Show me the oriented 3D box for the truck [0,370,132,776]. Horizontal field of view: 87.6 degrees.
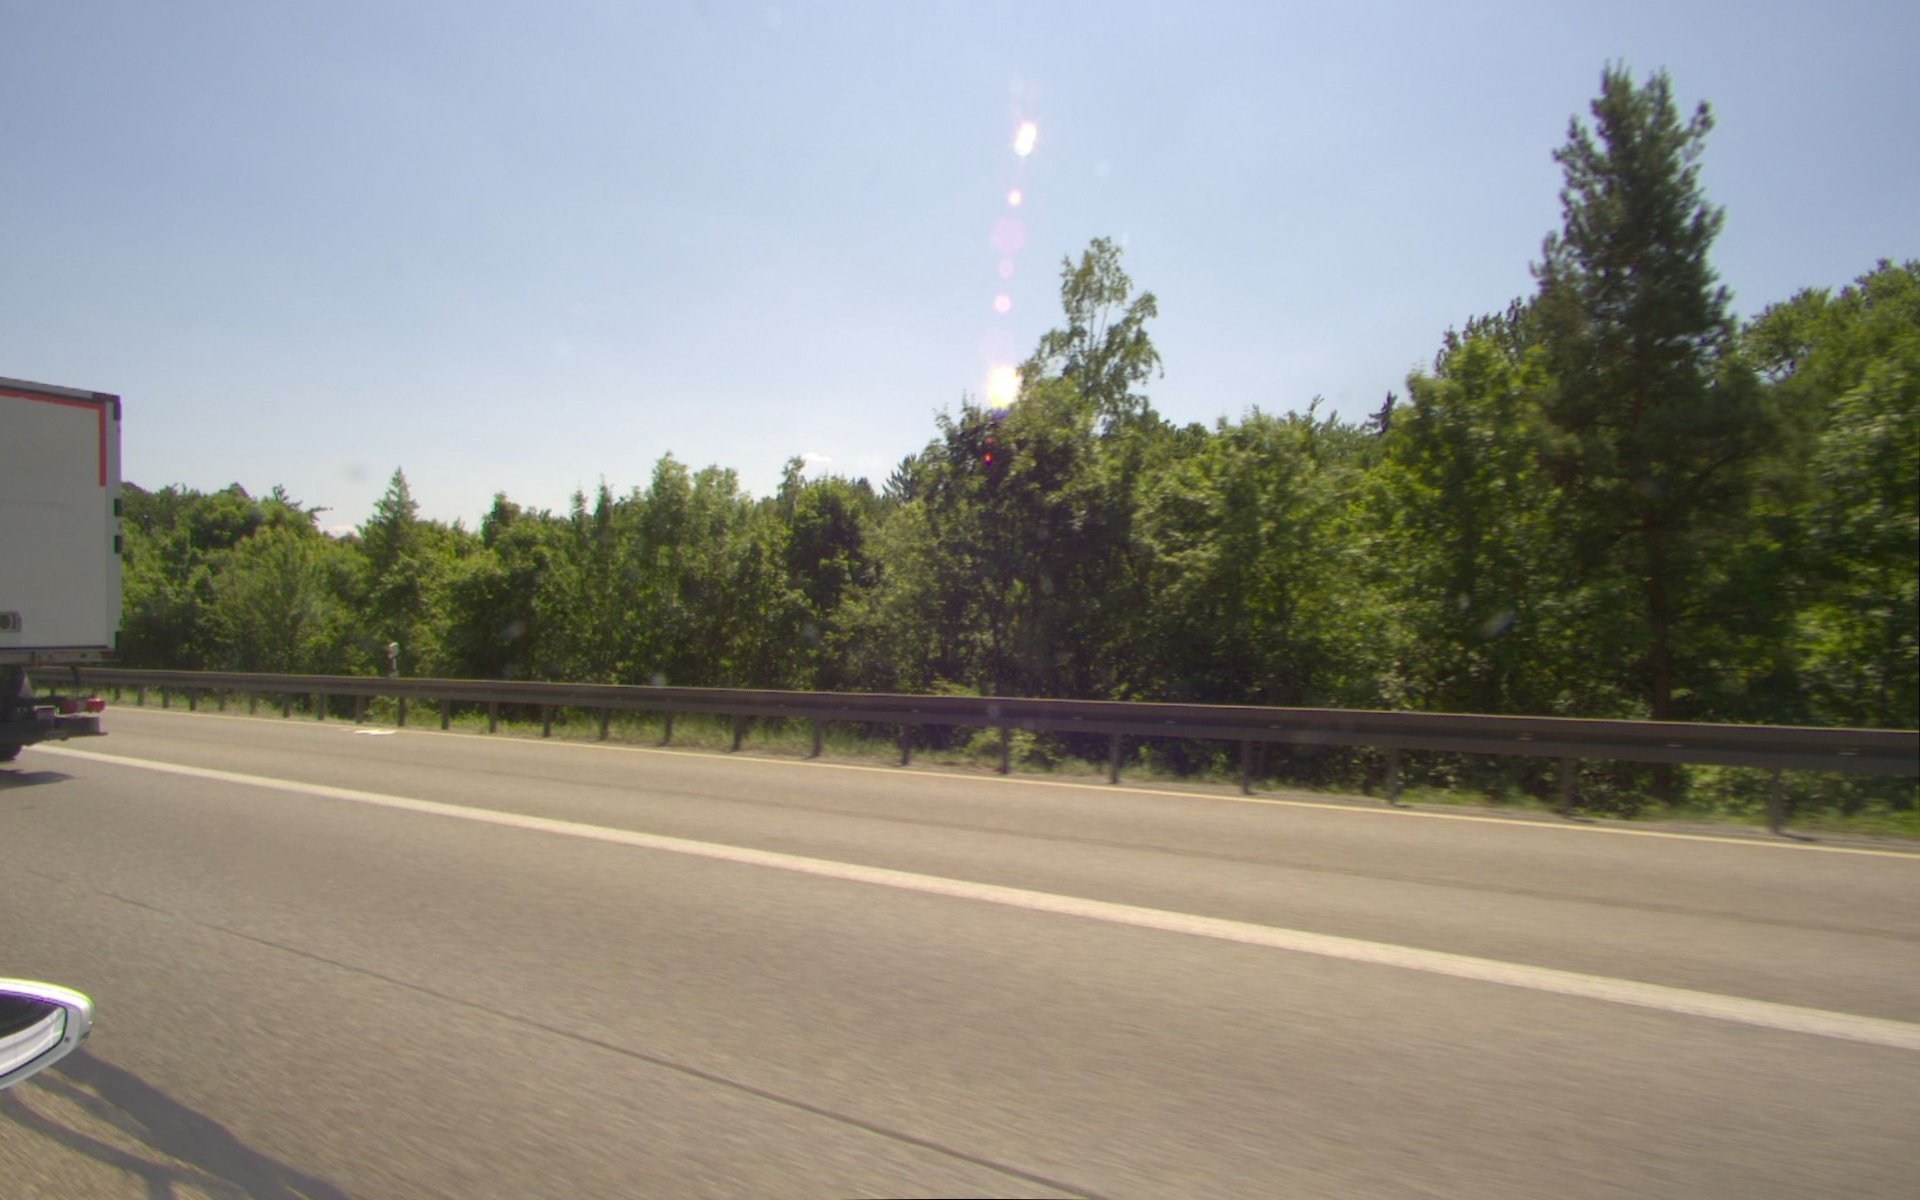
[{"bbox_3d":[-13.520,-0.192,11.981,9.640,3.927,2.682,-1,0,32],"label":"truck"}]
